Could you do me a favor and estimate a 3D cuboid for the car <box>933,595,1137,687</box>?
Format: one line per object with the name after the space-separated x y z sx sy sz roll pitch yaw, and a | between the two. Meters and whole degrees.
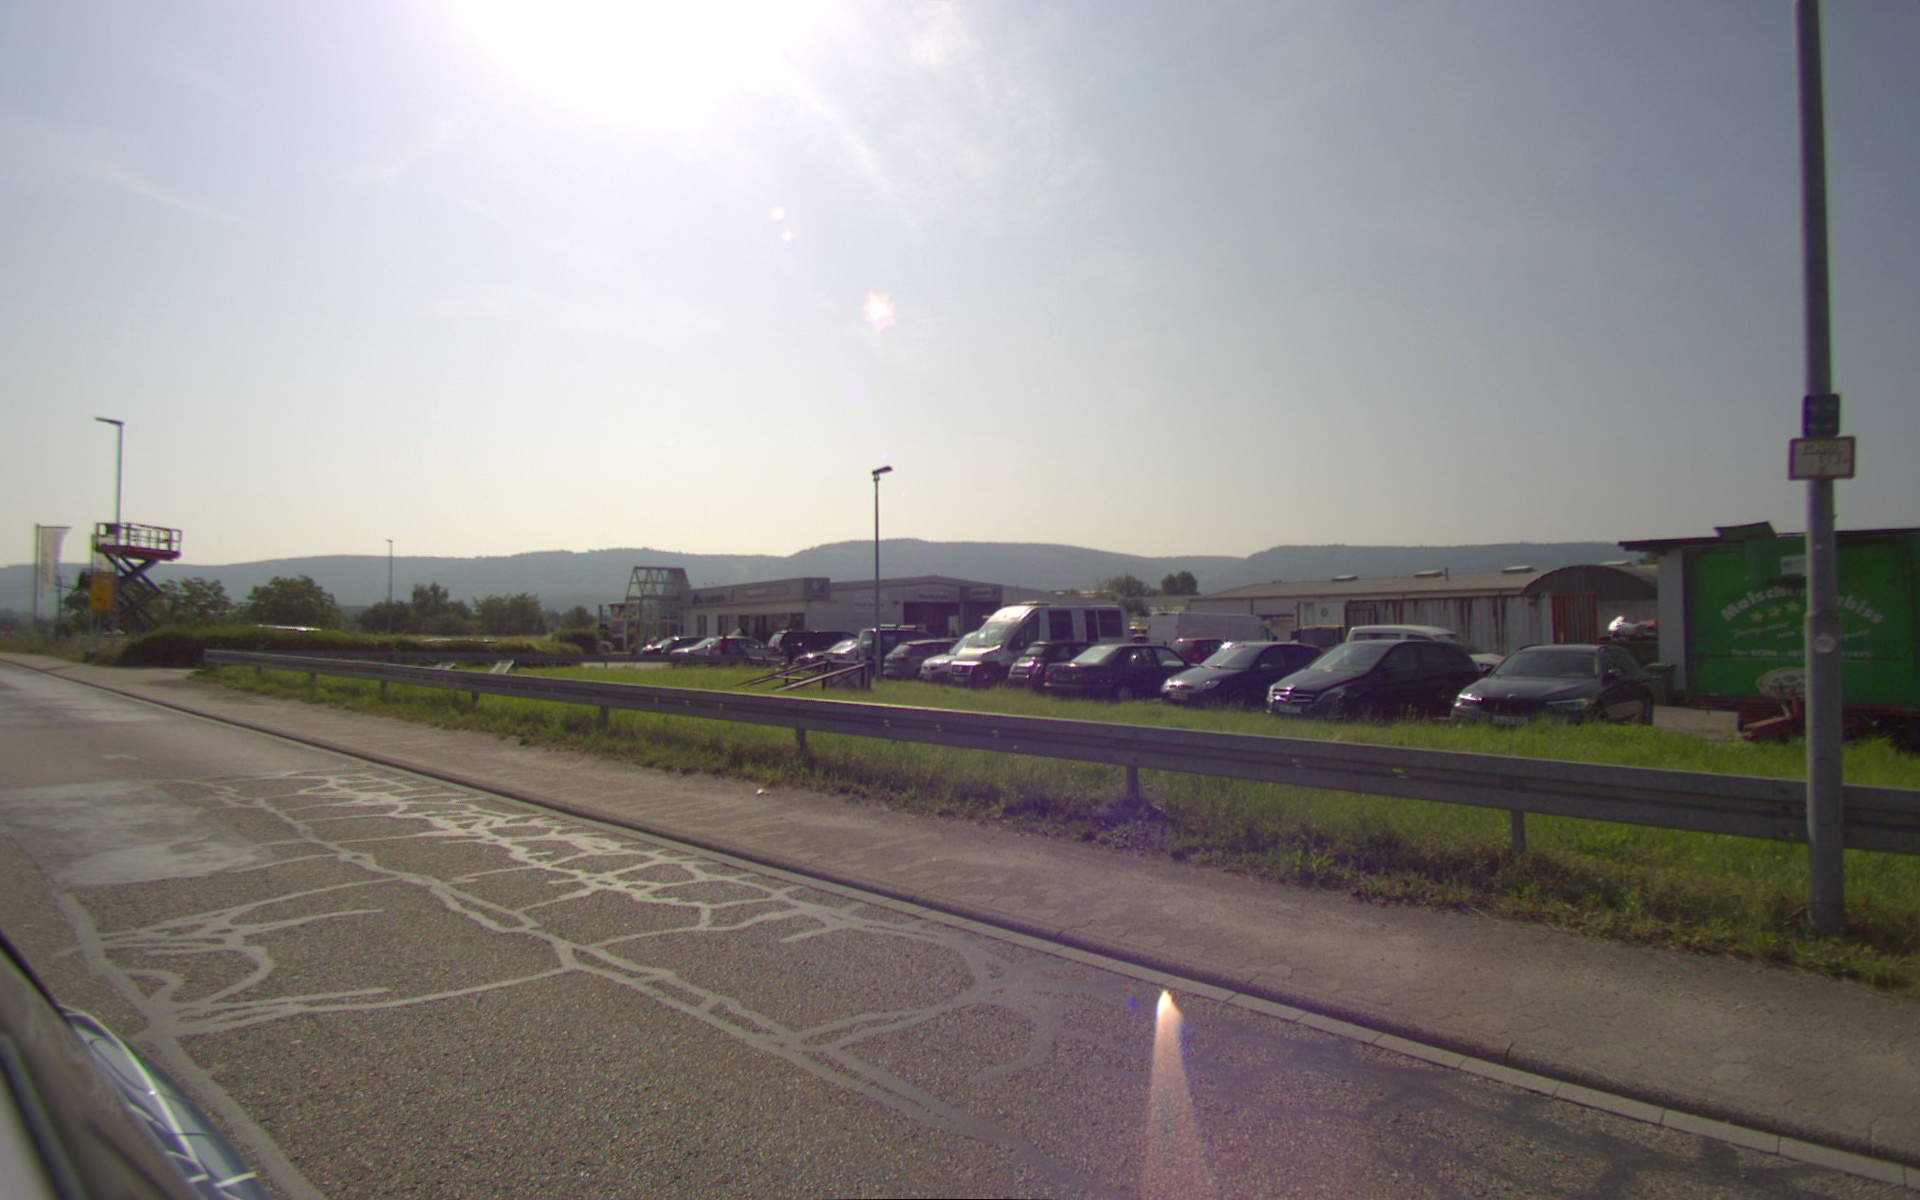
2.126 1.208 28.368 5.313 2.391 2.301 2 -4 -30 | car

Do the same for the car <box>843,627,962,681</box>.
-1.958 1.868 34.895 3.695 1.764 1.753 3 -3 -34 | car

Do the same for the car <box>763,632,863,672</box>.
-5.948 2.110 41.131 3.627 1.533 1.688 3 -3 -37 | car

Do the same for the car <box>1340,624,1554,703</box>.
12.206 1.512 25.680 1.966 1.689 4.541 -1 0 -32 | car

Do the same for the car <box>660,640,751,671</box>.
-12.978 2.830 51.649 4.088 1.547 1.887 3 -3 -36 | car

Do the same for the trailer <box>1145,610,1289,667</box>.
10.533 1.606 41.377 5.667 2.141 2.224 2 -3 -27 | trailer

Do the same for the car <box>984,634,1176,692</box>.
3.107 1.618 25.972 4.684 1.364 1.927 2 -4 -30 | car

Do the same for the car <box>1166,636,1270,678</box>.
9.509 2.089 37.236 3.605 1.475 1.768 3 -3 -34 | car

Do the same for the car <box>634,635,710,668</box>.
-16.975 3.028 59.631 4.026 1.887 1.822 2 -3 -26 | car

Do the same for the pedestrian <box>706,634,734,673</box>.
-11.228 2.493 47.351 0.982 1.767 0.837 -1 0 11 | pedestrian

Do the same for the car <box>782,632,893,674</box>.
-4.711 2.044 39.083 3.935 1.533 1.688 3 -3 -37 | car

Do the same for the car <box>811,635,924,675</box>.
-3.353 2.016 36.956 3.695 1.399 1.734 3 -3 -34 | car

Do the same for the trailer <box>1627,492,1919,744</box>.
11.823 0.346 13.383 6.222 2.625 2.861 3 -3 -34 | trailer

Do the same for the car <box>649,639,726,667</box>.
-14.646 2.863 54.487 3.605 1.475 1.768 3 -3 -34 | car

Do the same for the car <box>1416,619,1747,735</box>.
9.717 1.176 15.765 5.055 1.546 2.184 2 -4 -30 | car

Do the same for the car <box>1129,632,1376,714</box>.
6.219 1.531 21.383 5.055 1.546 2.032 2 -4 -30 | car

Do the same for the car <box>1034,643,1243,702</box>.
4.130 1.655 23.226 4.616 1.228 1.836 2 -4 -30 | car

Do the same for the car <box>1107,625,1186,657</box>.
9.165 2.034 49.717 3.605 1.475 1.768 3 -3 -34 | car

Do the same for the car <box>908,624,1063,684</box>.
0.789 1.642 30.416 4.328 1.676 1.812 2 -4 -30 | car

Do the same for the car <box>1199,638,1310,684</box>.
10.163 2.095 34.878 3.605 1.475 1.768 3 -3 -34 | car

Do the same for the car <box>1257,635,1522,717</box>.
7.810 1.356 18.287 4.882 1.328 1.784 2 -4 -30 | car

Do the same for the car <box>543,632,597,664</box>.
-25.716 3.167 66.664 1.968 2.029 4.163 3 -3 -40 | car

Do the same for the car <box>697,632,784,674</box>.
-10.784 2.560 49.822 3.711 1.809 1.938 -1 0 -36 | car

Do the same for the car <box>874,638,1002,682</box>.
-0.687 1.891 32.266 3.695 1.318 1.811 3 -3 -34 | car

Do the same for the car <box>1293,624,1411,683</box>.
14.242 1.939 36.712 3.932 2.029 2.006 3 -3 -31 | car
